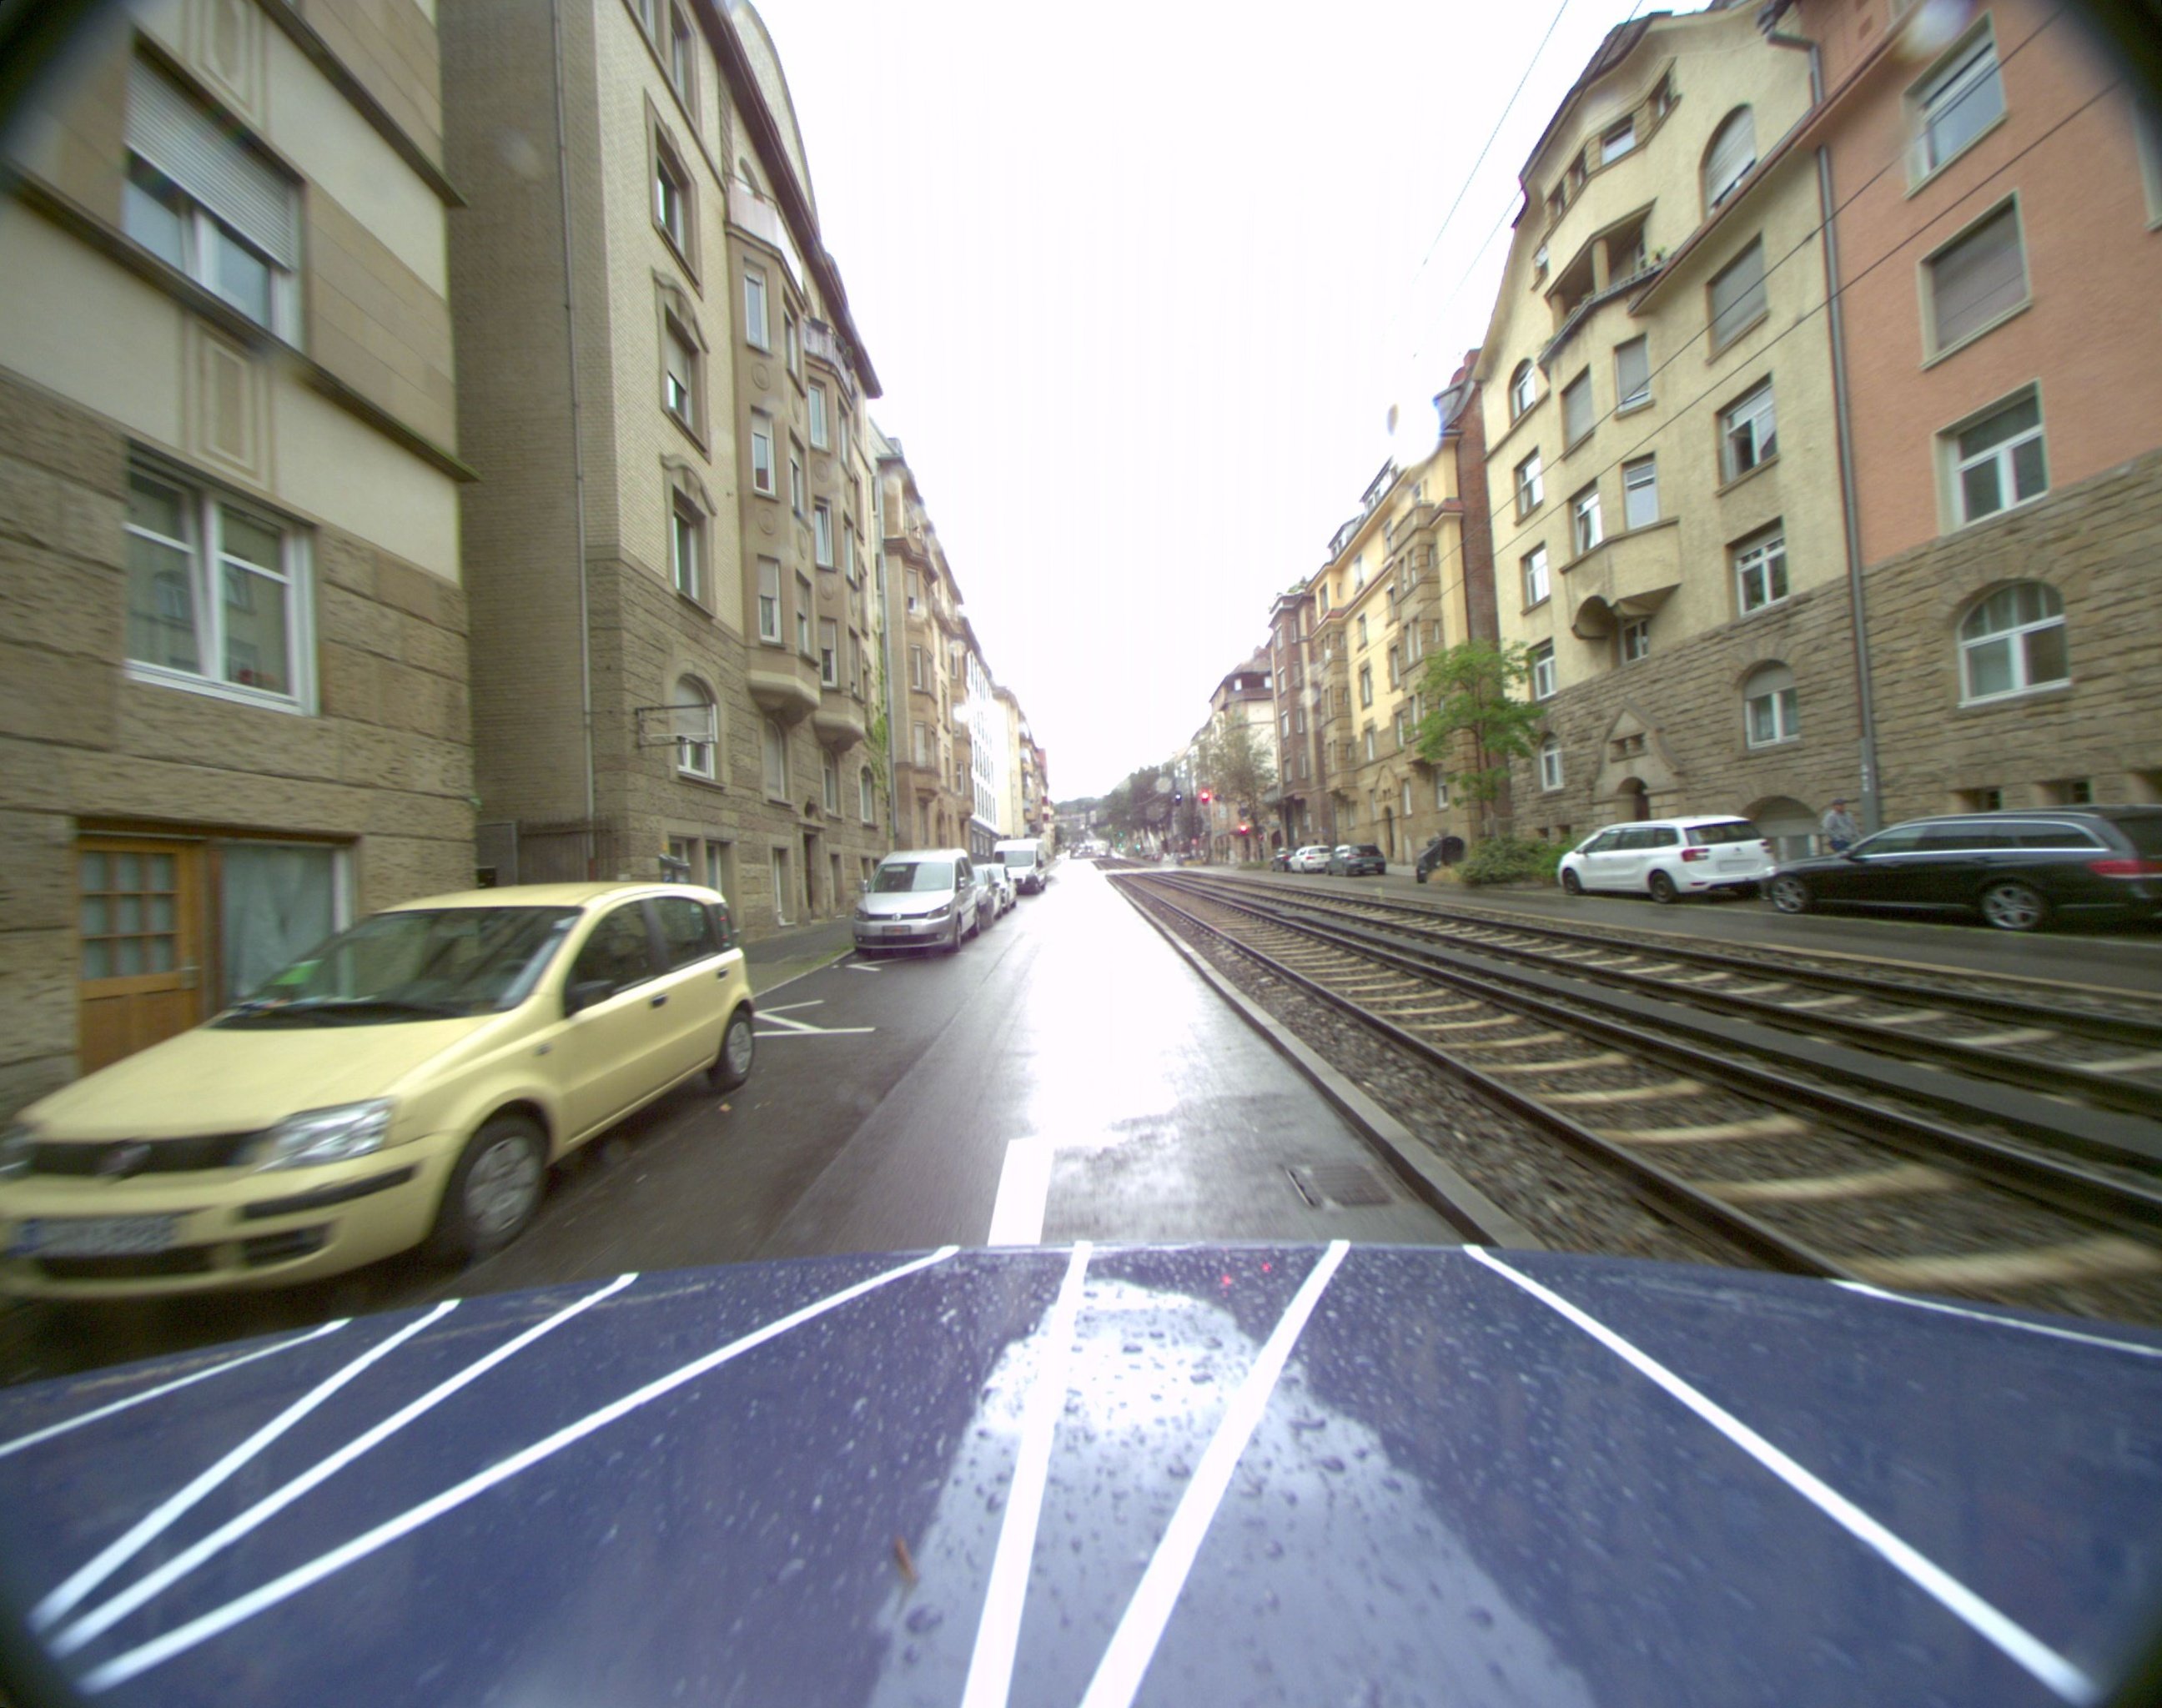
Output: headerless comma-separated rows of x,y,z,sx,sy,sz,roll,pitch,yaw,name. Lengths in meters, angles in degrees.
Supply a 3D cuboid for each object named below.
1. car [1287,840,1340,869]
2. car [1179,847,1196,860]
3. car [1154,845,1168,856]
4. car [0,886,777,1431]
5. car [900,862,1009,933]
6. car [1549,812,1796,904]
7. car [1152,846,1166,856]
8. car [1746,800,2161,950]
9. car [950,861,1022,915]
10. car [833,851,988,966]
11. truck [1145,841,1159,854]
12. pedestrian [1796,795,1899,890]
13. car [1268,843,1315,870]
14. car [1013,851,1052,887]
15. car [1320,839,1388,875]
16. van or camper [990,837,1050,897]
12.472,-0.003,40.997,1.671,1.417,4.262,-3,0,2,car
13.568,-0.102,96.707,1.811,1.489,3.527,-4,0,4,car
12.773,-0.603,122.040,1.780,1.560,4.158,-3,1,1,car
-3.179,1.035,4.068,1.563,1.469,3.460,-4,0,1,car
-3.006,0.986,18.936,1.999,1.433,3.999,-2,1,0,car
12.192,0.070,16.121,1.789,1.580,4.350,-3,0,0,car
13.251,-0.524,129.272,1.911,1.432,4.468,-3,1,-1,car
12.319,0.167,10.434,1.998,1.500,4.974,-5,0,1,car
-2.862,0.994,23.640,1.680,1.403,4.000,-4,0,0,car
-2.969,0.864,14.218,1.779,1.766,4.360,-2,0,1,car
13.422,-1.276,143.435,2.197,2.333,6.351,-2,2,2,truck
14.990,-0.209,14.893,1.010,1.743,0.924,-4,0,-2,pedestrian
12.712,0.140,46.197,1.769,1.477,3.999,-3,1,1,car
-2.711,0.810,43.453,1.773,1.797,4.482,-4,0,1,car
12.487,0.117,35.005,1.565,1.429,4.145,-5,1,1,car
-2.696,0.505,34.957,2.069,2.455,6.118,-3,1,1,van or camper
